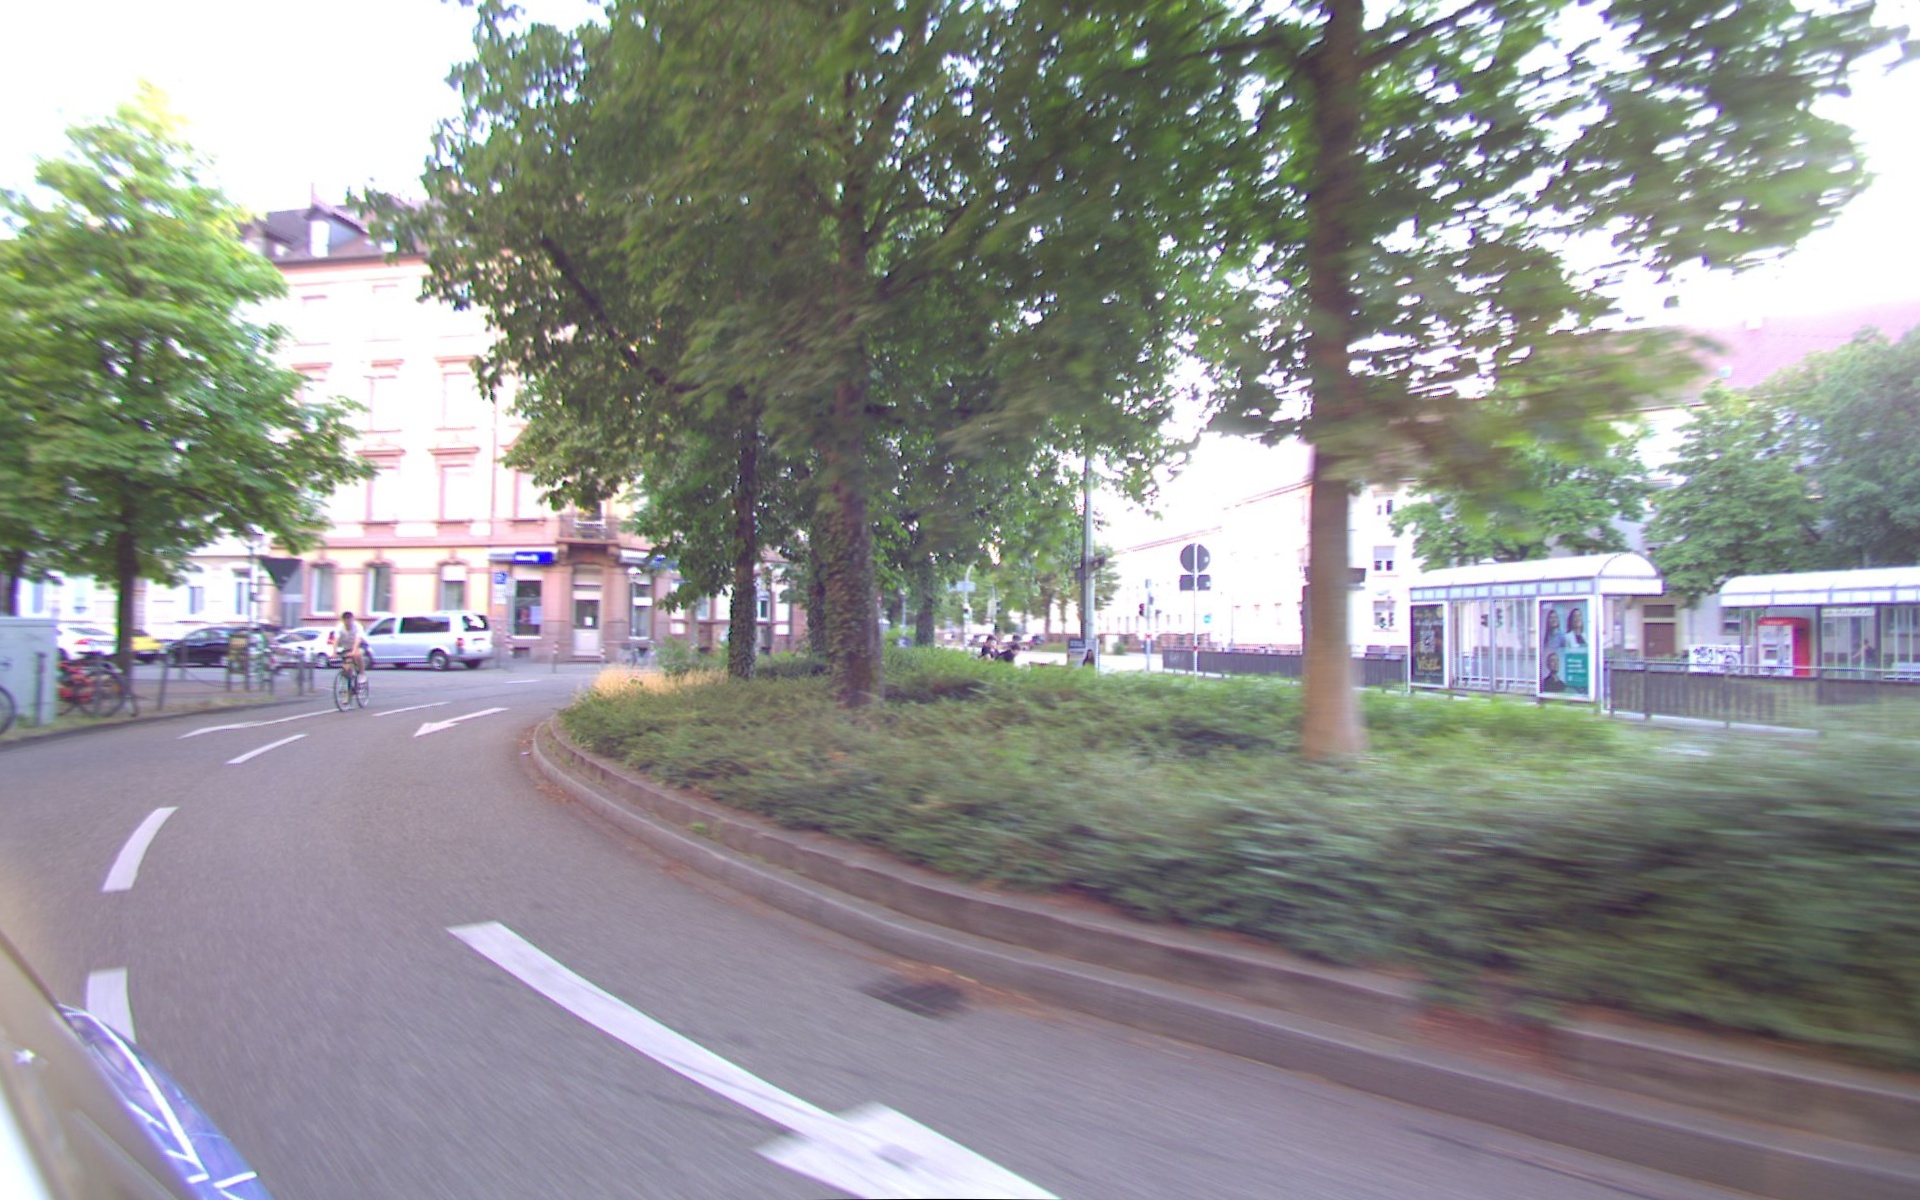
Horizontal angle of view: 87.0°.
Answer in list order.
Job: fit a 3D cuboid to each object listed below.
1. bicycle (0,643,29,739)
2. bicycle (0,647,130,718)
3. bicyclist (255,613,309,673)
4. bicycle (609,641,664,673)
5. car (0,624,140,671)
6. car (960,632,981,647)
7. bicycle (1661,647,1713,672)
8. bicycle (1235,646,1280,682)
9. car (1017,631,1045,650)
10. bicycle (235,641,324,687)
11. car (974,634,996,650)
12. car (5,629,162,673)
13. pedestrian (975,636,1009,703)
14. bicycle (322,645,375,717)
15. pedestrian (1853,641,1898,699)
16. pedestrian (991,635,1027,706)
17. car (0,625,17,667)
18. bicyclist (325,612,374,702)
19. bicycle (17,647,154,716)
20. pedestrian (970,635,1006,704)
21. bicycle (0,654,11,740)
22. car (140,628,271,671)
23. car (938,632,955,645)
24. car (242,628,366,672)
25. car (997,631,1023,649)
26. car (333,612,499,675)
[{"bbox_3d":[-12.383,1.092,12.190,1.580,1.157,0.557,1,-3,-22],"label":"bicycle"},{"bbox_3d":[-13.717,1.239,15.258,1.868,1.047,0.433,1,-2,-9],"label":"bicycle"},{"bbox_3d":[-17.540,1.111,26.188,0.964,1.524,0.683,-1,-2,15],"label":"bicyclist"},{"bbox_3d":[-11.476,2.011,35.928,1.772,1.091,0.561,0,-1,-1],"label":"bicycle"},{"bbox_3d":[-30.635,1.583,34.138,4.789,1.528,1.993,0,-2,11],"label":"car"},{"bbox_3d":[1.336,5.155,131.230,1.879,1.864,4.009,1,-2,-11],"label":"car"},{"bbox_3d":[34.492,2.815,48.035,0.676,1.160,1.921,3,-3,-44],"label":"bicycle"},{"bbox_3d":[9.095,1.935,31.045,0.537,1.059,1.859,1,-2,-10],"label":"bicycle"},{"bbox_3d":[7.118,4.093,101.683,1.879,1.864,4.009,1,-2,-11],"label":"car"},{"bbox_3d":[-17.595,1.639,26.177,2.095,1.160,0.683,-1,-2,15],"label":"bicycle"},{"bbox_3d":[2.994,5.020,122.059,1.879,1.864,4.009,1,-2,-11],"label":"car"},{"bbox_3d":[-32.768,1.878,37.879,4.747,1.537,1.839,0,0,9],"label":"car"},{"bbox_3d":[0.703,1.504,22.210,0.649,1.442,0.615,-1,-2,12],"label":"pedestrian"},{"bbox_3d":[-10.640,1.366,17.644,0.674,1.160,2.121,1,-3,-29],"label":"bicycle"},{"bbox_3d":[34.027,2.569,37.633,1.058,2.102,1.002,-1,-3,35],"label":"pedestrian"},{"bbox_3d":[1.015,1.438,20.902,0.649,1.442,0.615,-1,-2,12],"label":"pedestrian"},{"bbox_3d":[-39.108,1.803,39.220,4.103,1.605,1.798,0,0,13],"label":"car"},{"bbox_3d":[-10.662,0.985,17.695,0.674,1.524,0.976,1,-3,-29],"label":"bicyclist"},{"bbox_3d":[-13.518,1.257,15.669,1.582,1.047,0.433,1,-2,-9],"label":"bicycle"},{"bbox_3d":[0.599,1.460,21.541,0.649,1.442,0.615,-1,-2,12],"label":"pedestrian"},{"bbox_3d":[-12.215,1.150,11.776,1.580,1.028,0.557,1,-3,-22],"label":"bicycle"},{"bbox_3d":[-27.433,1.778,36.852,3.698,1.503,1.730,0,-1,8],"label":"car"},{"bbox_3d":[-1.981,5.649,148.552,1.879,1.864,4.009,1,-2,-11],"label":"car"},{"bbox_3d":[-23.542,1.767,36.367,3.574,1.503,1.684,0,-1,11],"label":"car"},{"bbox_3d":[5.432,4.364,110.438,1.879,1.864,4.009,1,-2,-11],"label":"car"},{"bbox_3d":[-18.812,1.460,35.091,4.953,2.072,2.040,0,-1,12],"label":"car"}]
